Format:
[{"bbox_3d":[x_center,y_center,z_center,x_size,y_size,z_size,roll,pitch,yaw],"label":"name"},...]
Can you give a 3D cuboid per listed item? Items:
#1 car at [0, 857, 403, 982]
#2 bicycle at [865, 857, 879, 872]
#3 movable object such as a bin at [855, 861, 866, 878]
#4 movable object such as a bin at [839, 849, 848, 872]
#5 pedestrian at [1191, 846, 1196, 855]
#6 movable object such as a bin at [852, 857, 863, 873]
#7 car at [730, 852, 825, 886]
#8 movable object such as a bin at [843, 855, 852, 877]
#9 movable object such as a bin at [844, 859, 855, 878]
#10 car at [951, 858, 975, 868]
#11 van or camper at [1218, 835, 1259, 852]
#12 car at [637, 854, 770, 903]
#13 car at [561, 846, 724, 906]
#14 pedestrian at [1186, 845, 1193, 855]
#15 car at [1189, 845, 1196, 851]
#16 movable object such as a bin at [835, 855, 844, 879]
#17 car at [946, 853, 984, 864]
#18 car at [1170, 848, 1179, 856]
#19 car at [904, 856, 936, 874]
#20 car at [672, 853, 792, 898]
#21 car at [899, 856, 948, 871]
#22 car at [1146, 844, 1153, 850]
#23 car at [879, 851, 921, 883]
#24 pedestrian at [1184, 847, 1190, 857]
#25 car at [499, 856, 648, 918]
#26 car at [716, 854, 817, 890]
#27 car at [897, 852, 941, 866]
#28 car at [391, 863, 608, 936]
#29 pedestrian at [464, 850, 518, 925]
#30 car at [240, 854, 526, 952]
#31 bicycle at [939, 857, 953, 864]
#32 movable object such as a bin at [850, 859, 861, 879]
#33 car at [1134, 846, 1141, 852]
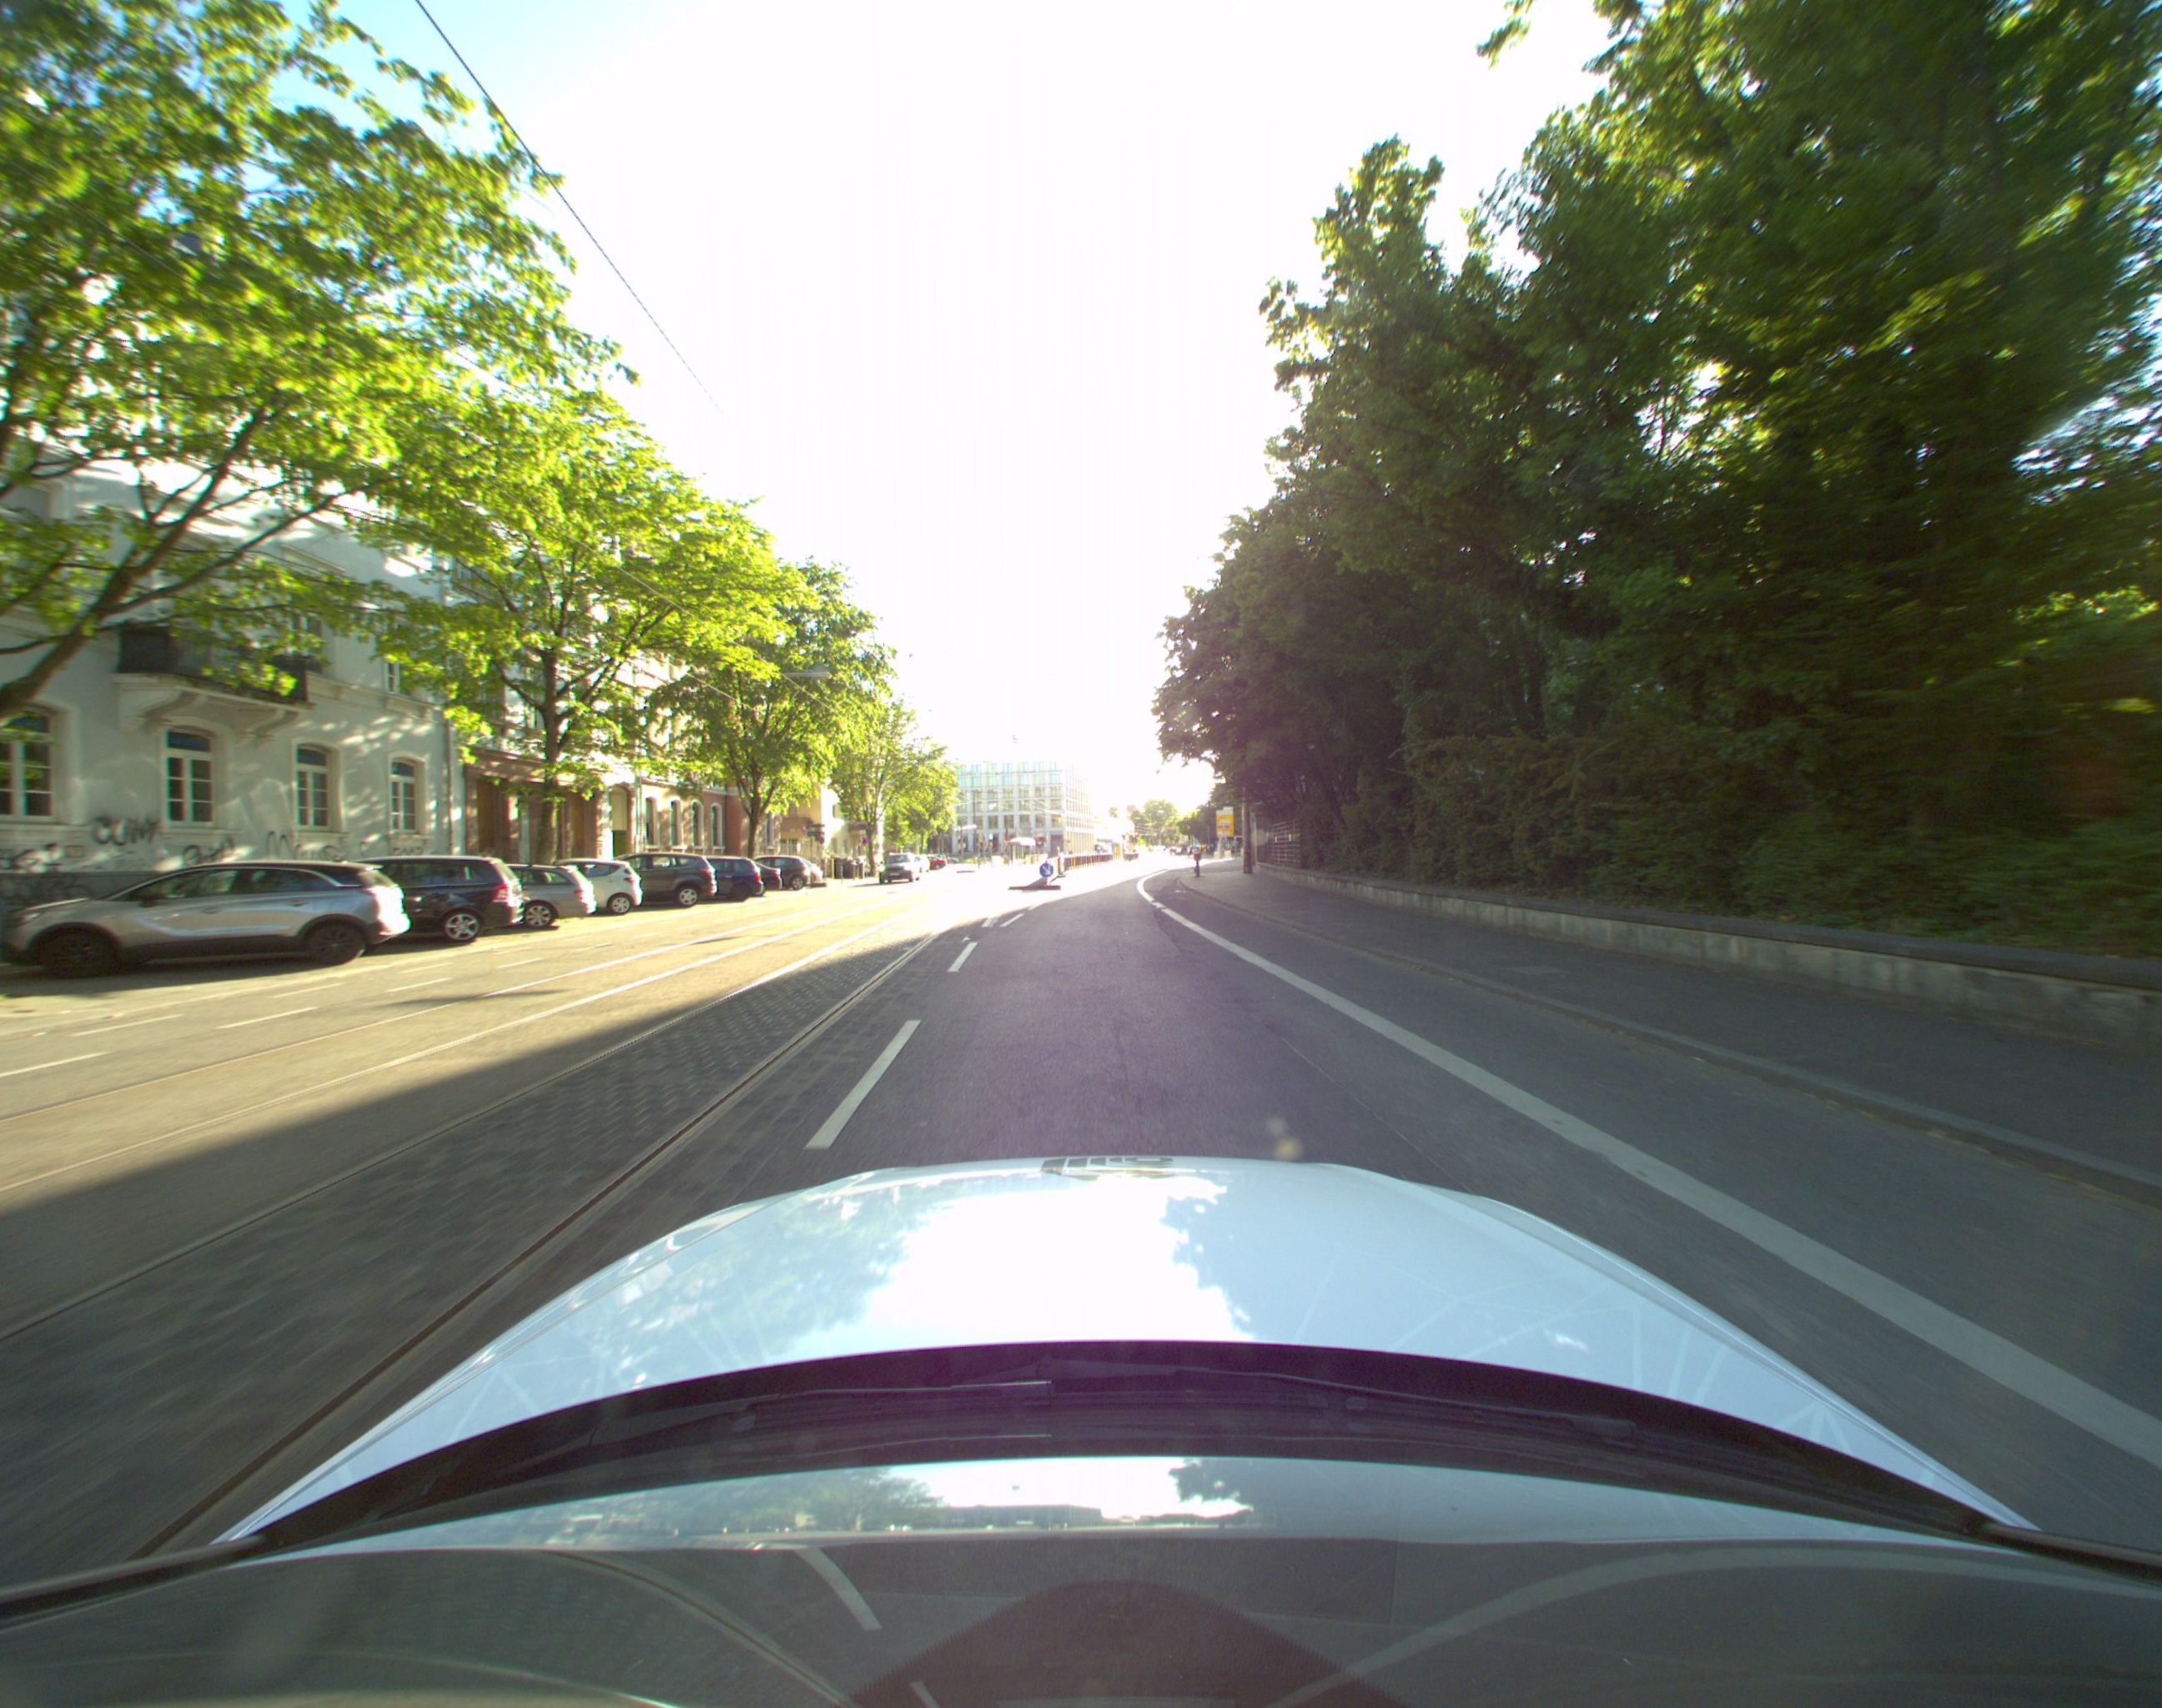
[{"bbox_3d":[-13.140,0.879,12.562,3.884,1.654,1.755,0,-1,-32],"label":"car"},{"bbox_3d":[-20.539,1.046,80.131,0.715,1.398,3.006,-2,0,-4],"label":"bicycle"},{"bbox_3d":[-14.139,0.987,52.195,0.377,1.068,0.641,-2,0,10],"label":"movable object such as a bin"},{"bbox_3d":[-15.006,0.434,51.435,0.377,1.427,0.387,-2,0,10],"label":"movable object such as a bin"},{"bbox_3d":[20.499,-0.623,148.349,0.761,1.558,0.587,-2,0,-6],"label":"pedestrian"},{"bbox_3d":[-16.125,0.821,58.790,0.423,1.126,1.148,-2,0,4],"label":"movable object such as a bin"},{"bbox_3d":[-14.641,0.722,39.356,3.936,1.522,1.715,1,0,-39],"label":"car"},{"bbox_3d":[-14.850,0.765,51.844,0.377,1.427,0.389,-2,0,10],"label":"movable object such as a bin"},{"bbox_3d":[-14.438,0.910,50.892,0.377,1.203,0.641,-2,0,10],"label":"movable object such as a bin"},{"bbox_3d":[-19.053,1.432,131.634,3.510,1.506,1.526,-1,0,8],"label":"car"},{"bbox_3d":[26.937,-1.729,139.441,6.659,2.861,2.922,0,0,15],"label":"van or camper"},{"bbox_3d":[-13.261,0.815,28.718,4.004,1.617,1.617,1,0,-38],"label":"car"},{"bbox_3d":[-13.613,0.685,25.403,4.303,1.723,1.689,2,-2,-34],"label":"car"},{"bbox_3d":[19.488,-0.700,146.377,0.964,1.784,0.778,-2,0,-6],"label":"pedestrian"},{"bbox_3d":[26.334,-1.465,192.256,1.674,1.501,3.519,0,0,11],"label":"car"},{"bbox_3d":[-15.088,0.812,50.882,0.377,1.427,0.389,-2,0,10],"label":"movable object such as a bin"},{"bbox_3d":[-14.605,0.611,102.311,4.519,1.350,1.578,0,-1,-22],"label":"car"},{"bbox_3d":[21.518,-0.405,187.784,1.674,1.737,3.519,0,0,11],"label":"car"},{"bbox_3d":[-13.624,0.900,68.947,1.699,1.410,4.294,0,0,2],"label":"car"},{"bbox_3d":[-13.504,0.801,31.580,4.004,1.617,1.617,1,0,-38],"label":"car"},{"bbox_3d":[-15.333,0.900,79.124,4.514,1.425,1.861,0,-1,-19],"label":"car"},{"bbox_3d":[21.831,-2.193,259.436,1.808,1.712,3.817,-2,0,11],"label":"car"},{"bbox_3d":[-9.843,0.661,44.522,1.870,1.601,4.415,-2,1,-8],"label":"car"},{"bbox_3d":[19.283,-0.287,148.355,0.846,1.784,0.778,-2,0,-6],"label":"pedestrian"},{"bbox_3d":[-13.764,0.874,22.179,3.293,1.532,1.690,2,-1,-34],"label":"car"},{"bbox_3d":[-14.015,0.794,36.376,3.937,1.508,1.672,1,0,-34],"label":"car"},{"bbox_3d":[-17.882,0.536,89.997,4.519,1.569,1.578,0,-1,-22],"label":"car"},{"bbox_3d":[-12.989,0.959,18.495,3.835,1.485,1.753,1,-1,-32],"label":"car"},{"bbox_3d":[-14.366,0.794,19.845,0.764,1.755,0.804,-2,0,-13],"label":"pedestrian"},{"bbox_3d":[-13.001,0.841,15.531,3.883,1.654,1.756,0,-1,-31],"label":"car"},{"bbox_3d":[-20.865,1.018,126.098,1.908,1.122,0.793,-2,0,16],"label":"bicycle"},{"bbox_3d":[-14.250,0.964,51.544,0.377,1.241,0.641,-2,0,10],"label":"movable object such as a bin"},{"bbox_3d":[17.255,-1.568,248.225,1.808,1.712,3.817,-2,0,11],"label":"car"}]
